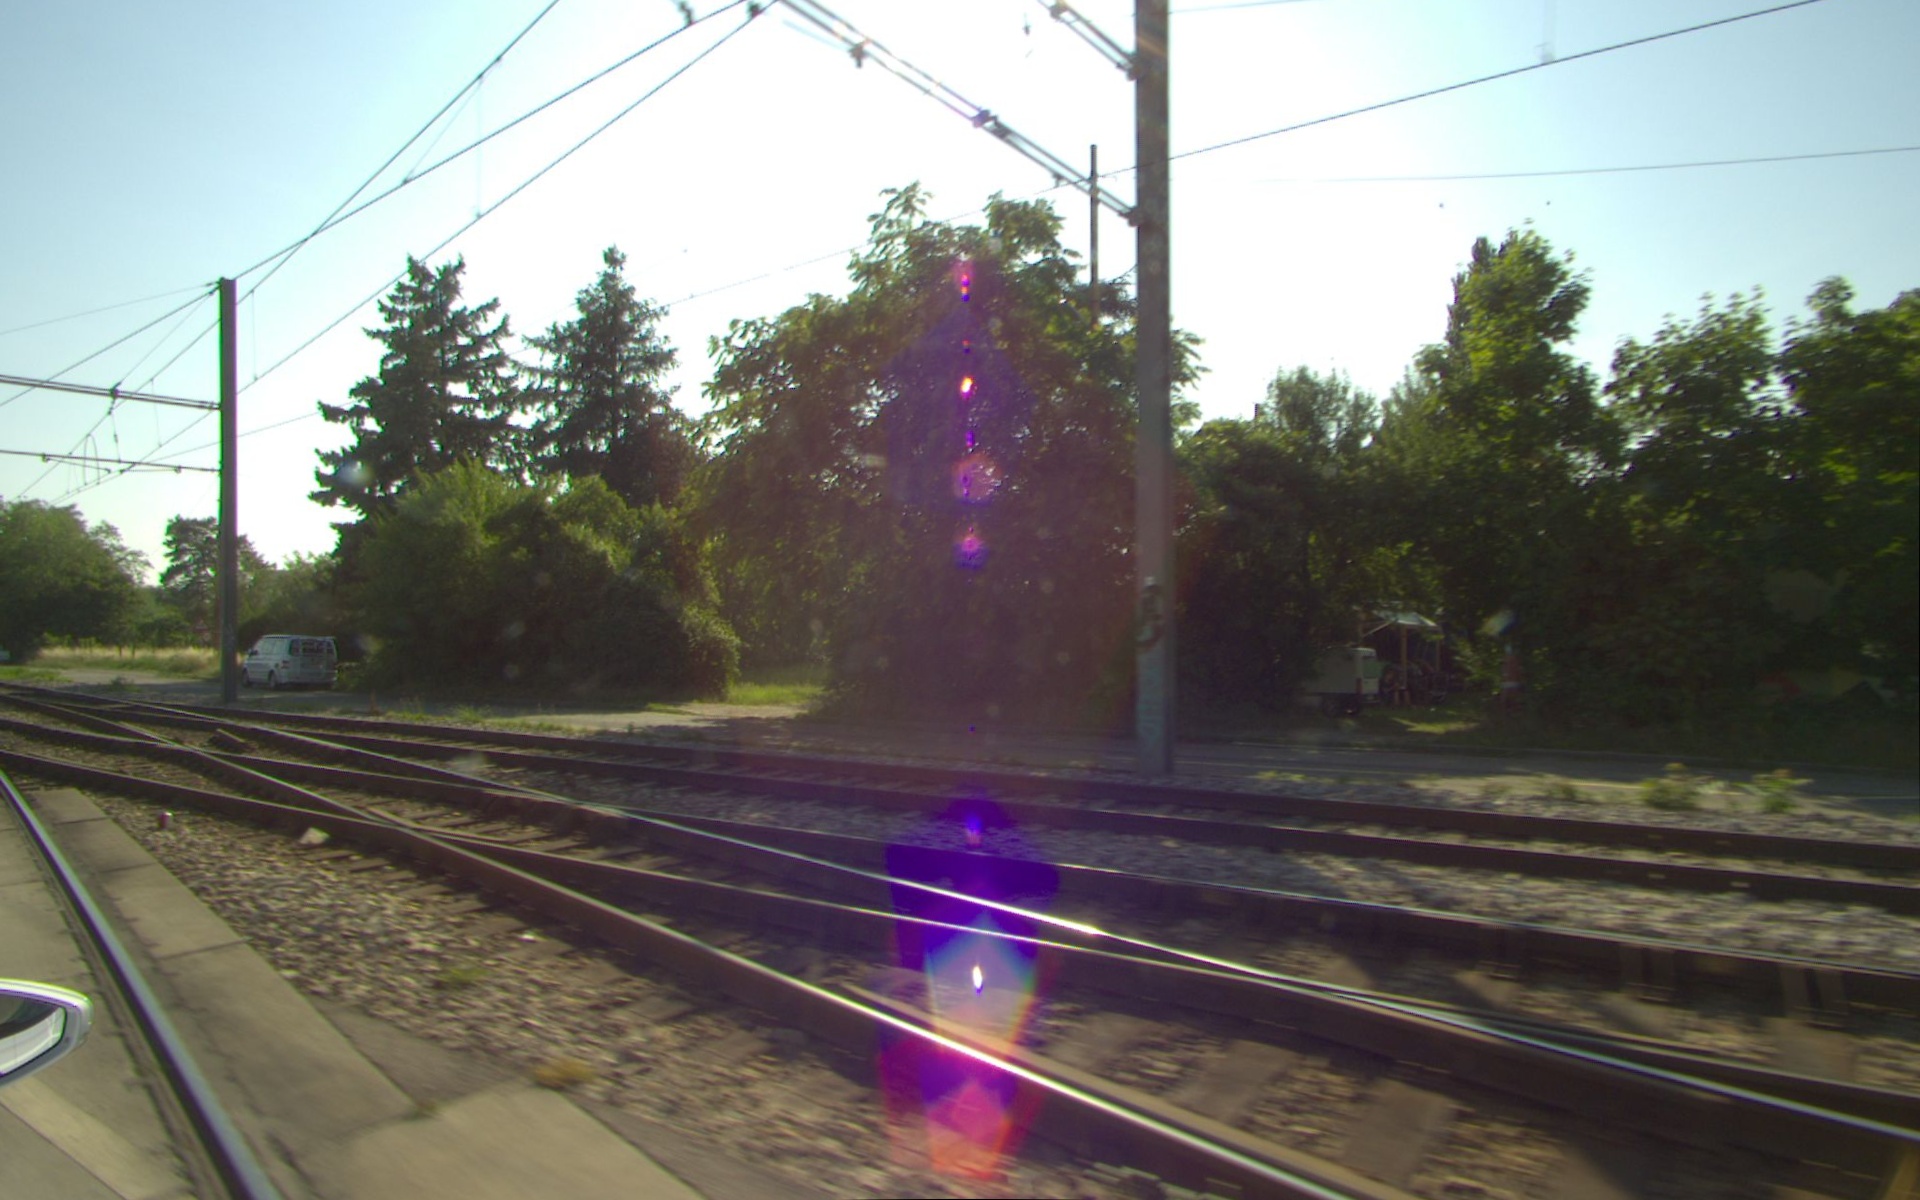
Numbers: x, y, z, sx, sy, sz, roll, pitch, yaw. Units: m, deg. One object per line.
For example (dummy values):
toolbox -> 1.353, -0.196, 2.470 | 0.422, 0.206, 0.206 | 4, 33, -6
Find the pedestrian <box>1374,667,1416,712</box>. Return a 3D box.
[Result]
pedestrian -> 12.045, 2.475, 27.737 | 0.982, 1.202, 0.759 | -2, -4, 28

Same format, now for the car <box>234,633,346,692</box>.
car -> -25.013, 2.338, 37.317 | 5.007, 2.028, 1.987 | -2, -6, 39

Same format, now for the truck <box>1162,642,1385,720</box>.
truck -> 8.266, 2.066, 26.614 | 5.332, 1.878, 1.991 | -1, -3, 32

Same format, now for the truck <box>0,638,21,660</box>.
truck -> -82.000, 4.149, 85.283 | 5.859, 1.841, 2.196 | -2, -3, 40
